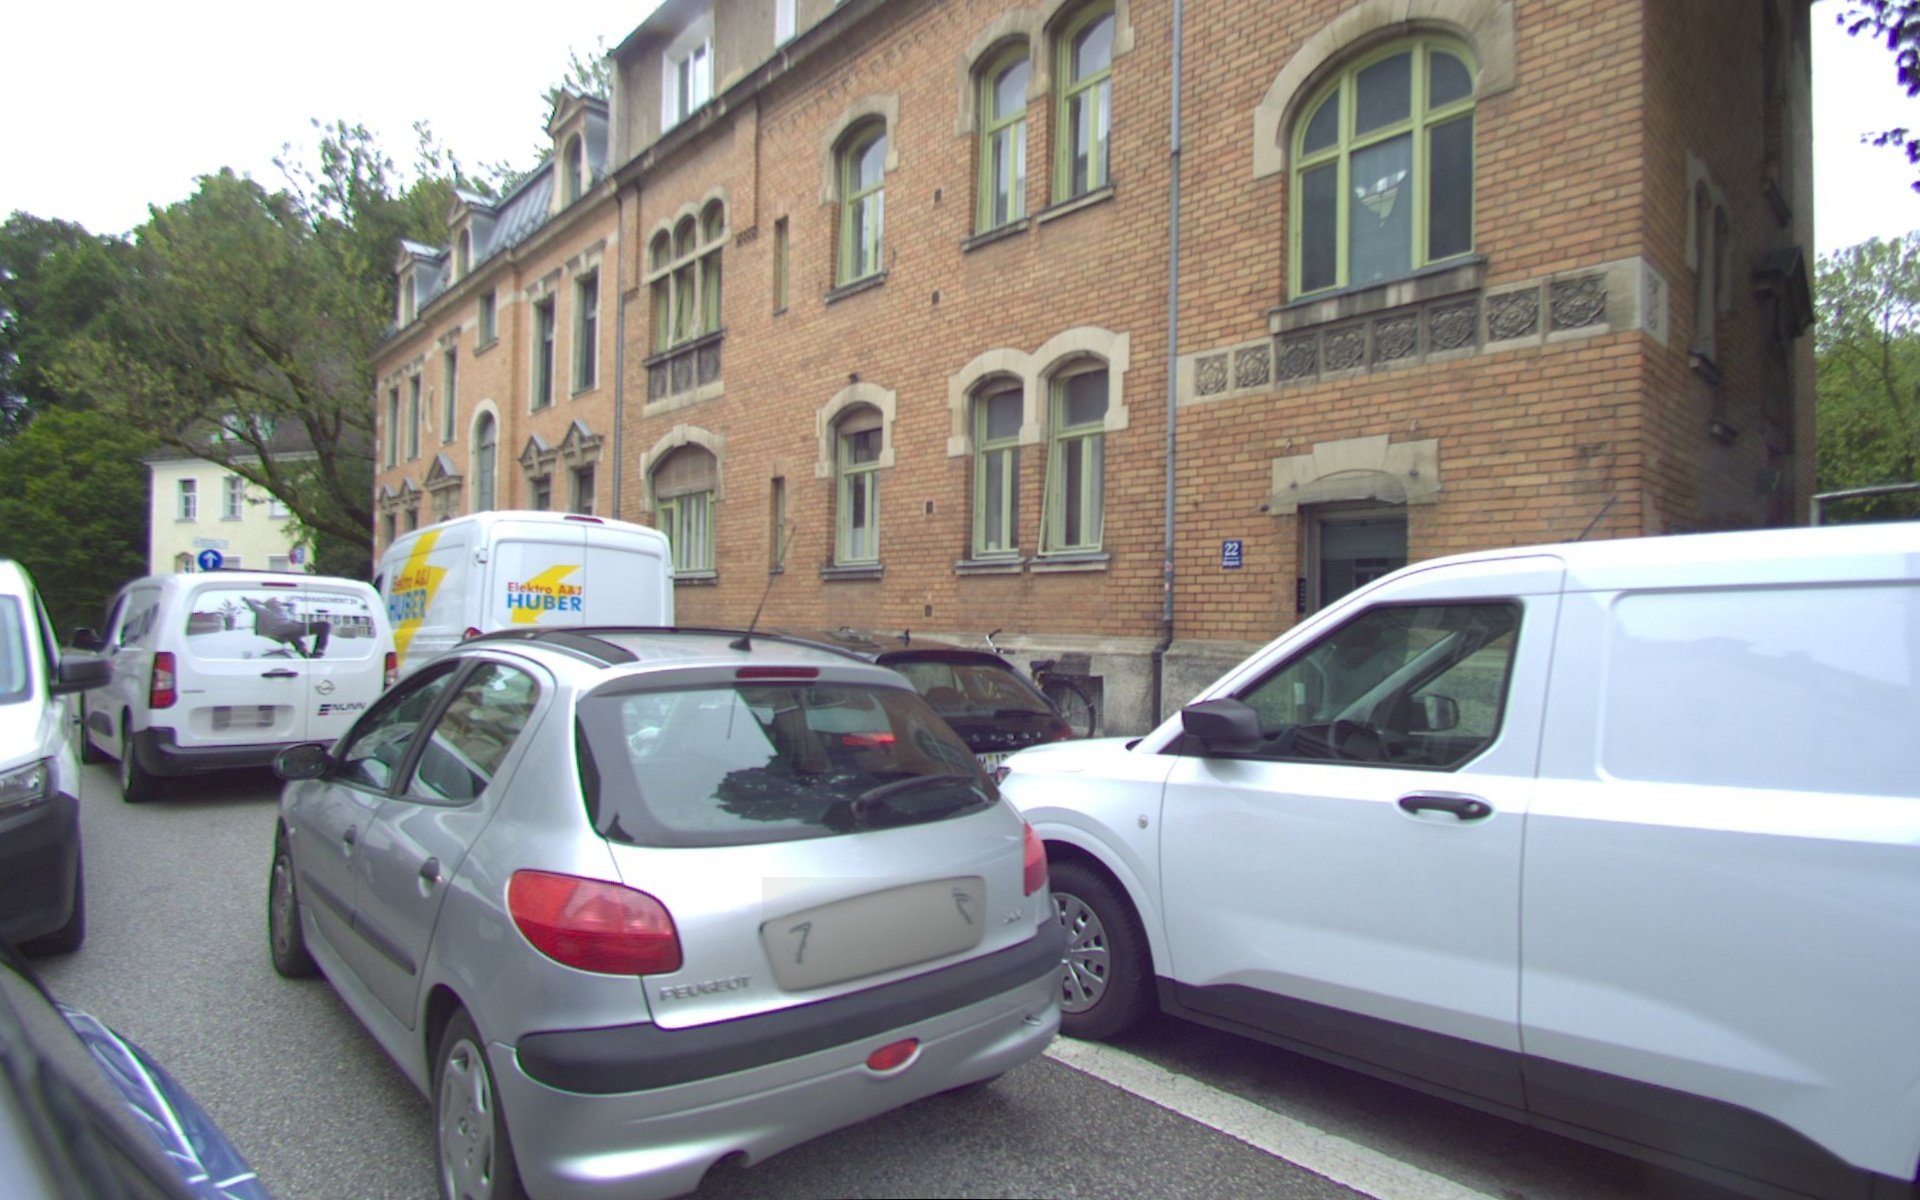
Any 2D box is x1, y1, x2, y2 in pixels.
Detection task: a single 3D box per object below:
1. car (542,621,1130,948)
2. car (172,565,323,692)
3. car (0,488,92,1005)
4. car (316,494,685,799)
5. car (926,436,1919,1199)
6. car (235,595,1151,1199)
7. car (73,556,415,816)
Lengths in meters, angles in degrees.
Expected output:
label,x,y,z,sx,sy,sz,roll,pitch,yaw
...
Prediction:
label,x,y,z,sx,sy,sz,roll,pitch,yaw
car,-1.076,0.898,6.645,1.670,1.454,4.149,4,-3,-43
car,-16.084,0.688,22.752,2.088,2.560,4.426,5,-5,-42
car,-5.145,0.514,4.547,1.750,1.785,4.005,2,-2,-42
car,-5.159,0.447,10.878,1.958,2.497,5.228,4,-3,-43
car,1.924,0.629,3.185,1.670,1.817,4.148,4,-4,-44
car,-1.285,0.728,3.520,1.562,1.422,3.617,2,-2,-42
car,-6.771,0.659,9.347,4.574,1.817,1.751,-1,-3,44
